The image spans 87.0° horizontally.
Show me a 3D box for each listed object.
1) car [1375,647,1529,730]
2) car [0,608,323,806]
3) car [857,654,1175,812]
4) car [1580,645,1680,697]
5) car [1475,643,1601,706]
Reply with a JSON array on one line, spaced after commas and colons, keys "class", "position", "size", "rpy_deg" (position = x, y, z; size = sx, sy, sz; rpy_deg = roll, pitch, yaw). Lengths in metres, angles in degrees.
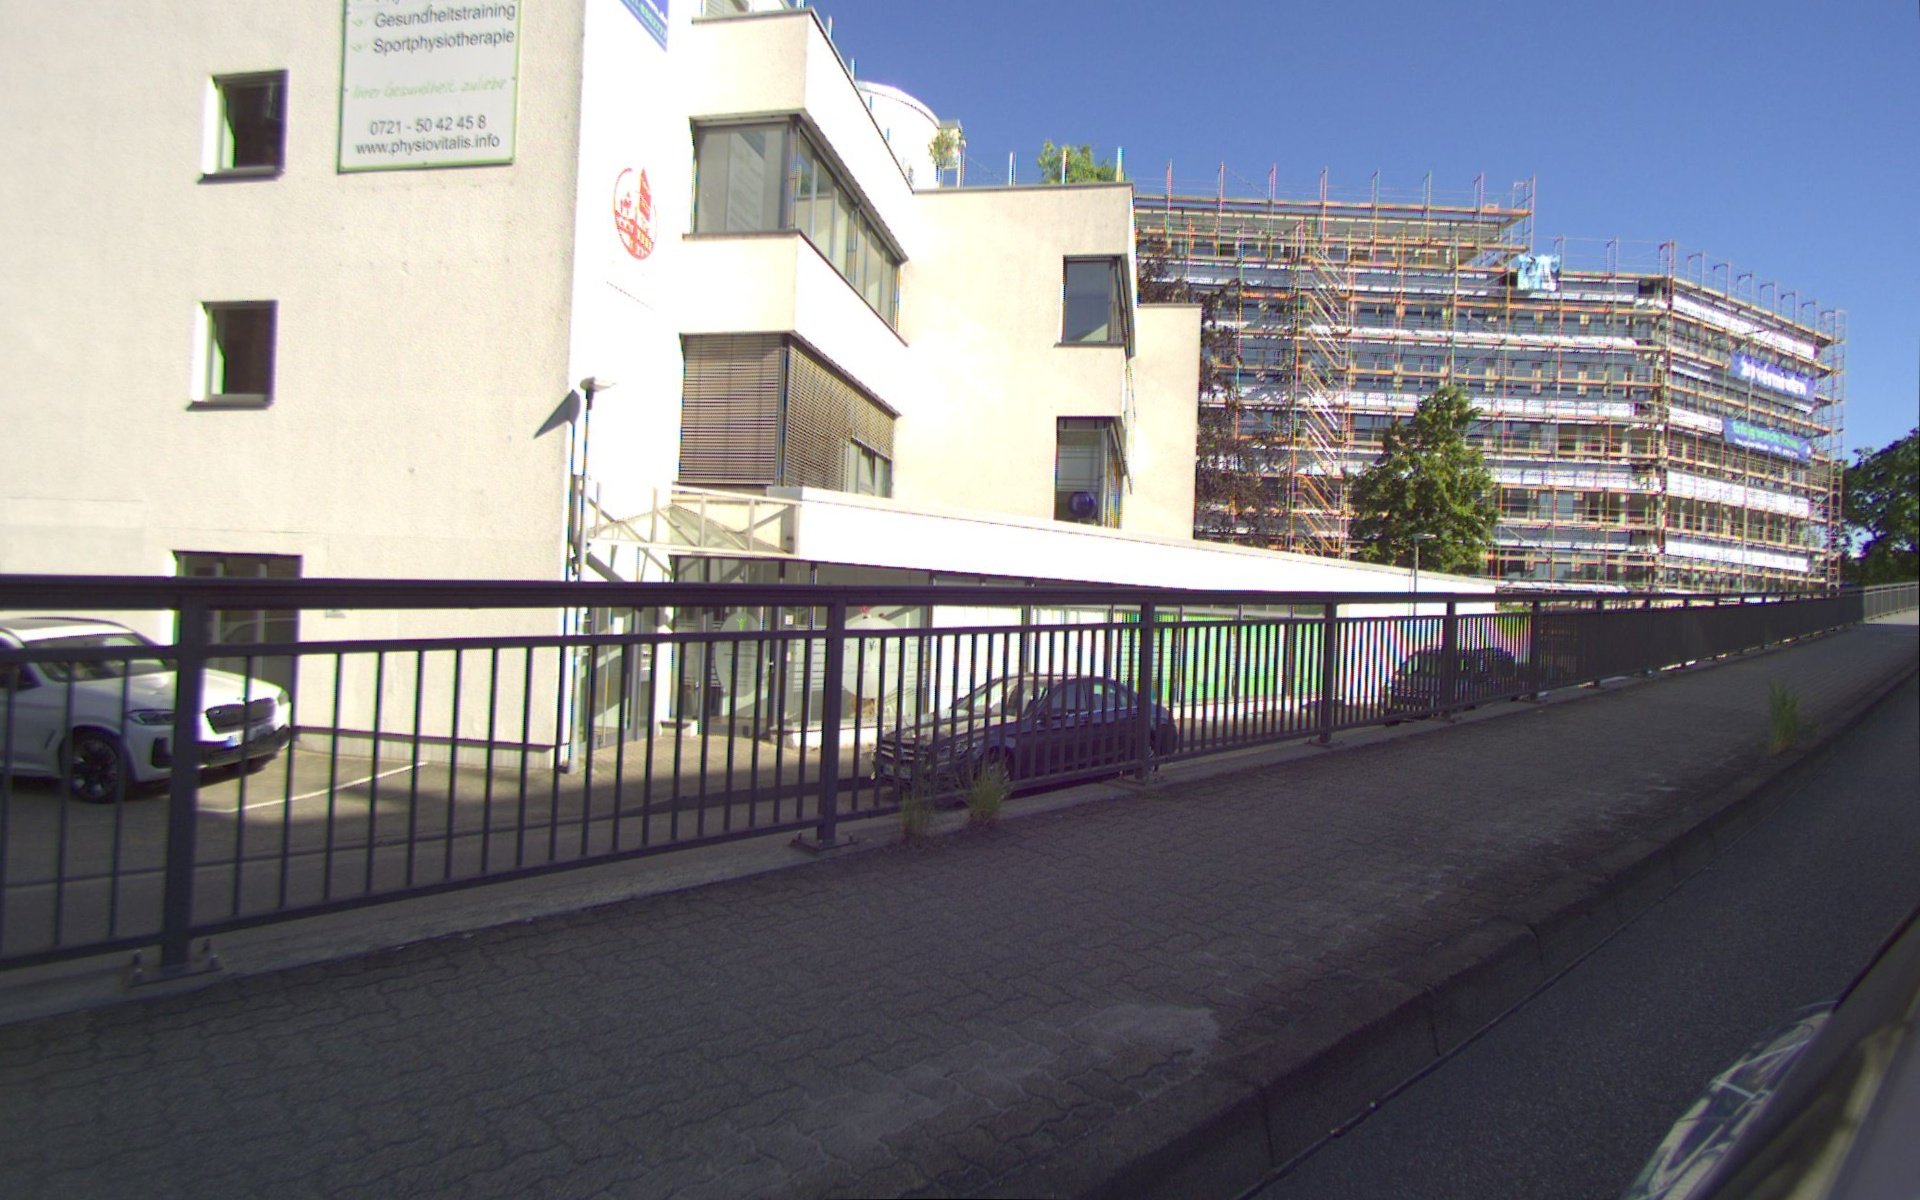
[{"class": "car", "position": [10.863, 1.862, 22.229], "size": [3.931, 1.541, 1.723], "rpy_deg": [1, -1, -42]}, {"class": "car", "position": [-9.542, 1.023, 10.842], "size": [4.455, 1.707, 1.840], "rpy_deg": [2, 0, 9]}, {"class": "car", "position": [0.813, 1.531, 12.809], "size": [3.929, 1.541, 1.724], "rpy_deg": [1, -1, -41]}, {"class": "car", "position": [21.091, 2.174, 31.800], "size": [3.931, 1.410, 1.723], "rpy_deg": [1, -1, -42]}, {"class": "car", "position": [14.984, 1.869, 26.159], "size": [3.931, 1.410, 1.723], "rpy_deg": [1, -1, -42]}]
